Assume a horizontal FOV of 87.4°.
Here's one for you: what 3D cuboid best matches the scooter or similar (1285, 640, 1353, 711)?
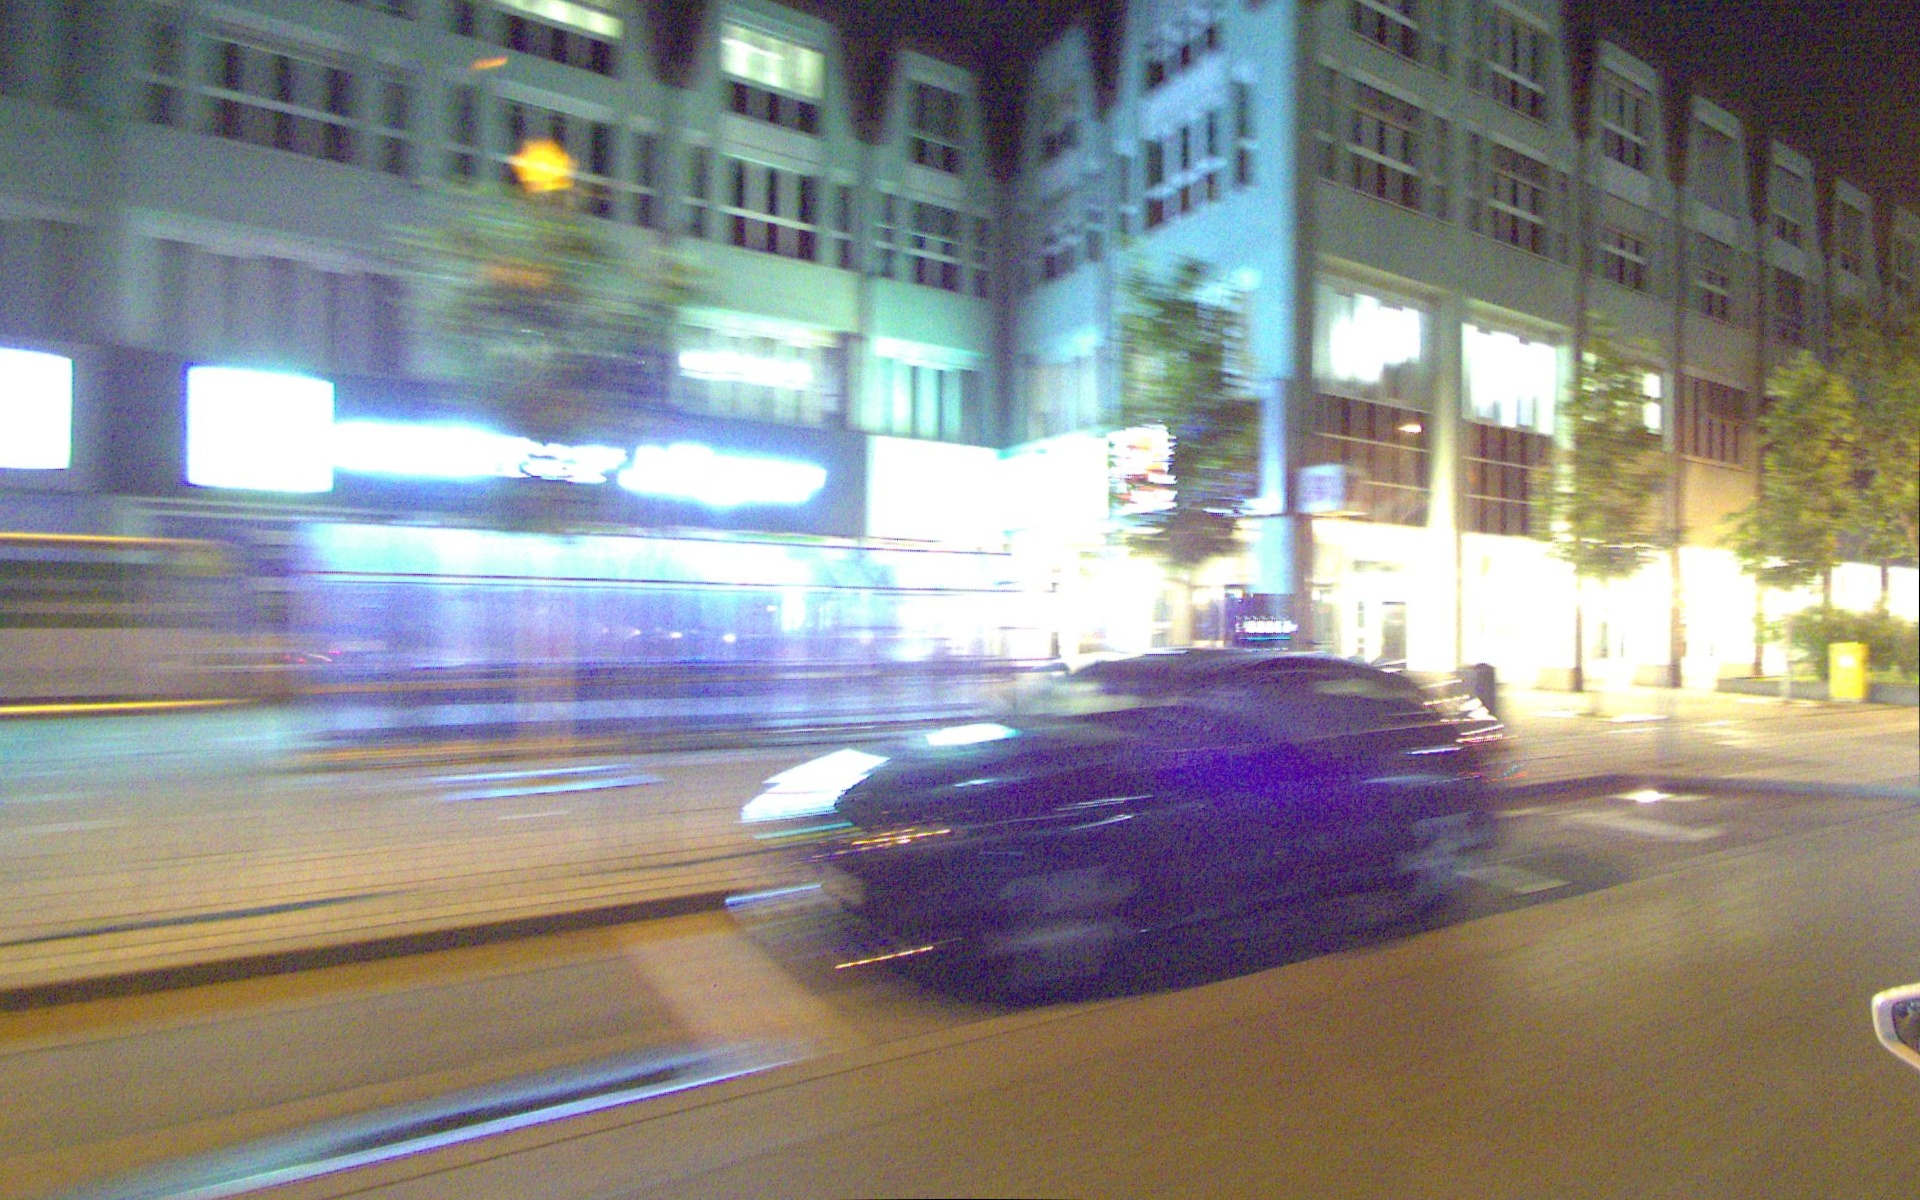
[{"bbox_3d":[6.511,1.353,18.195,1.327,1.237,0.386,1,-2,-29],"label":"scooter or similar"}]

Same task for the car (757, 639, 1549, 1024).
[{"bbox_3d":[1.260,0.965,5.762,4.443,1.432,1.733,1,-1,-31],"label":"car"}]

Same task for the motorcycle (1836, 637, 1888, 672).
[{"bbox_3d":[27.544,1.664,30.685,1.650,1.034,0.477,1,-1,-21],"label":"motorcycle"}]
